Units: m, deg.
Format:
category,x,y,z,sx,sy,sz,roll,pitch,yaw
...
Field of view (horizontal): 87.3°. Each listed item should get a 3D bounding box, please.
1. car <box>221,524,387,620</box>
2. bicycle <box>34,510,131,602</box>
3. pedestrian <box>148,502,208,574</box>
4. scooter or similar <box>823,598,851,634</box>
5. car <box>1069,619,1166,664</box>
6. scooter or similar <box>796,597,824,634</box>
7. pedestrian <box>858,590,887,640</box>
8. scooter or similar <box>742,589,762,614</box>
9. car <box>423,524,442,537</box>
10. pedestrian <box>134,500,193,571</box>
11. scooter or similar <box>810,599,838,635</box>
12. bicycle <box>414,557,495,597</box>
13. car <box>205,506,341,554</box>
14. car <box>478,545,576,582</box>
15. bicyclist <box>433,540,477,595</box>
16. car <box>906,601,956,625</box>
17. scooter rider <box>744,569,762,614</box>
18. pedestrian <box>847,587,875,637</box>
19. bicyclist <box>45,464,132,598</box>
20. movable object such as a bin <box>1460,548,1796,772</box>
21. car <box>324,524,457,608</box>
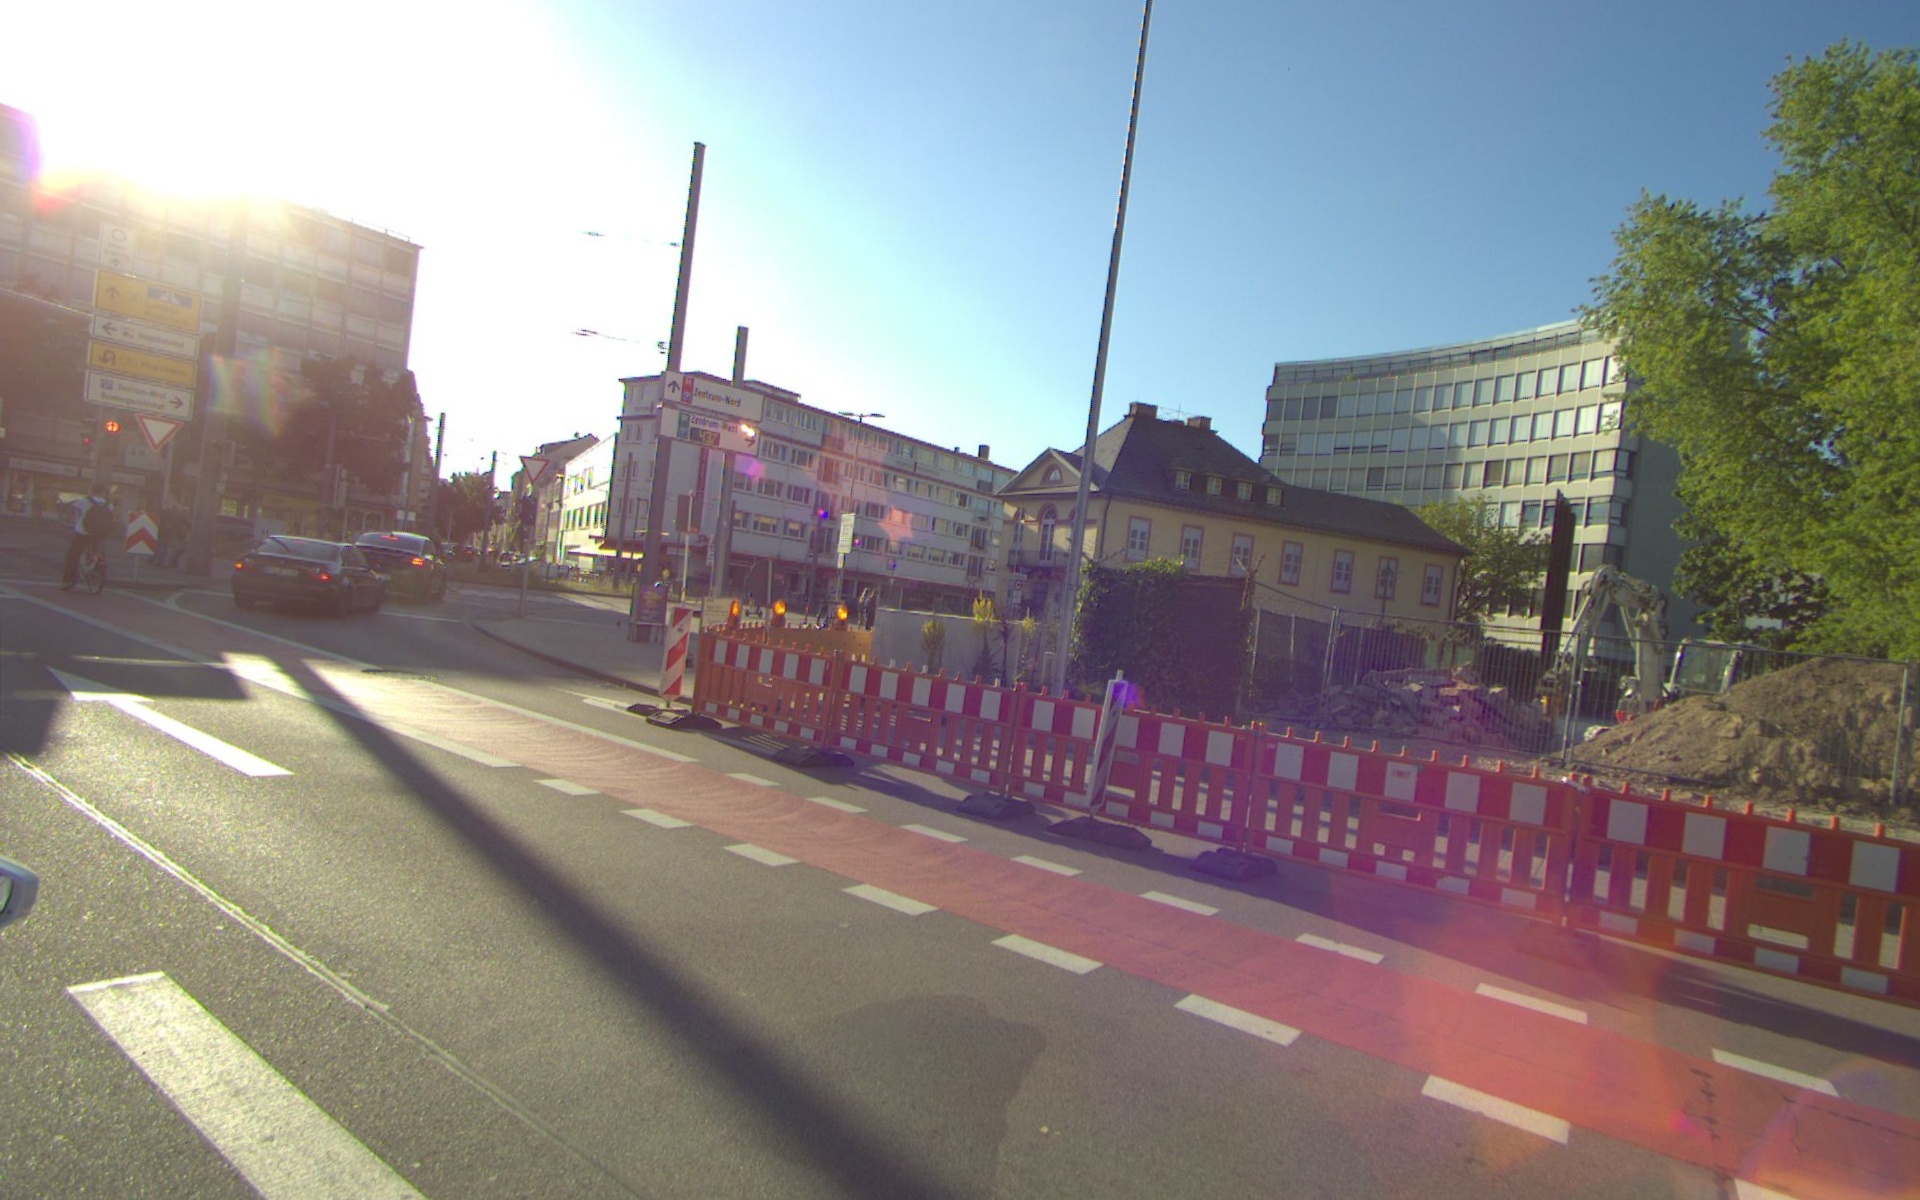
category,x,y,z,sx,sy,sz,roll,pitch,yaw
car,-12.407,-0.526,19.305,1.725,1.444,3.981,7,-1,-21
bicycle,-14.477,-0.744,16.583,2.016,1.238,0.645,9,0,35
pedestrian,-19.141,-1.505,24.635,0.644,1.617,0.879,7,1,32
scooter or similar,-4.830,0.625,39.300,0.563,1.274,1.335,6,0,-25
car,7.662,2.019,49.075,4.099,1.593,1.993,7,0,-16
scooter or similar,-5.755,0.574,38.453,0.563,1.274,1.335,6,0,-25
pedestrian,-3.346,0.583,38.498,0.588,1.847,0.727,7,1,25
scooter or similar,-9.306,0.088,45.060,0.485,1.046,1.386,7,0,-1
car,-66.493,-8.719,126.690,1.977,1.415,3.970,7,0,-28
pedestrian,-19.775,-1.597,24.974,0.644,1.617,0.879,7,1,32
scooter or similar,-5.247,0.652,38.747,0.563,1.274,1.335,6,0,-25
bicycle,-16.665,-0.753,33.209,0.672,1.039,2.226,7,-1,37
car,-32.530,-3.273,47.751,1.970,1.497,4.918,7,0,38
car,-25.891,-2.162,60.298,1.972,1.497,4.913,7,0,41
bicyclist,-16.655,-1.064,33.174,0.681,1.682,0.958,7,0,38
car,-2.574,1.148,89.916,1.972,1.597,4.304,7,0,41
scooter rider,-9.262,-0.365,44.981,0.492,1.944,0.533,7,1,-1
pedestrian,-3.839,0.460,38.882,0.588,1.847,0.727,7,1,25
bicyclist,-14.322,-1.135,16.528,1.050,2.037,0.644,9,0,35
movable object such as a bin,13.105,1.210,19.670,6.015,3.602,2.839,7,0,-31
car,-14.510,-0.856,25.886,1.971,1.713,3.985,9,-1,-17
